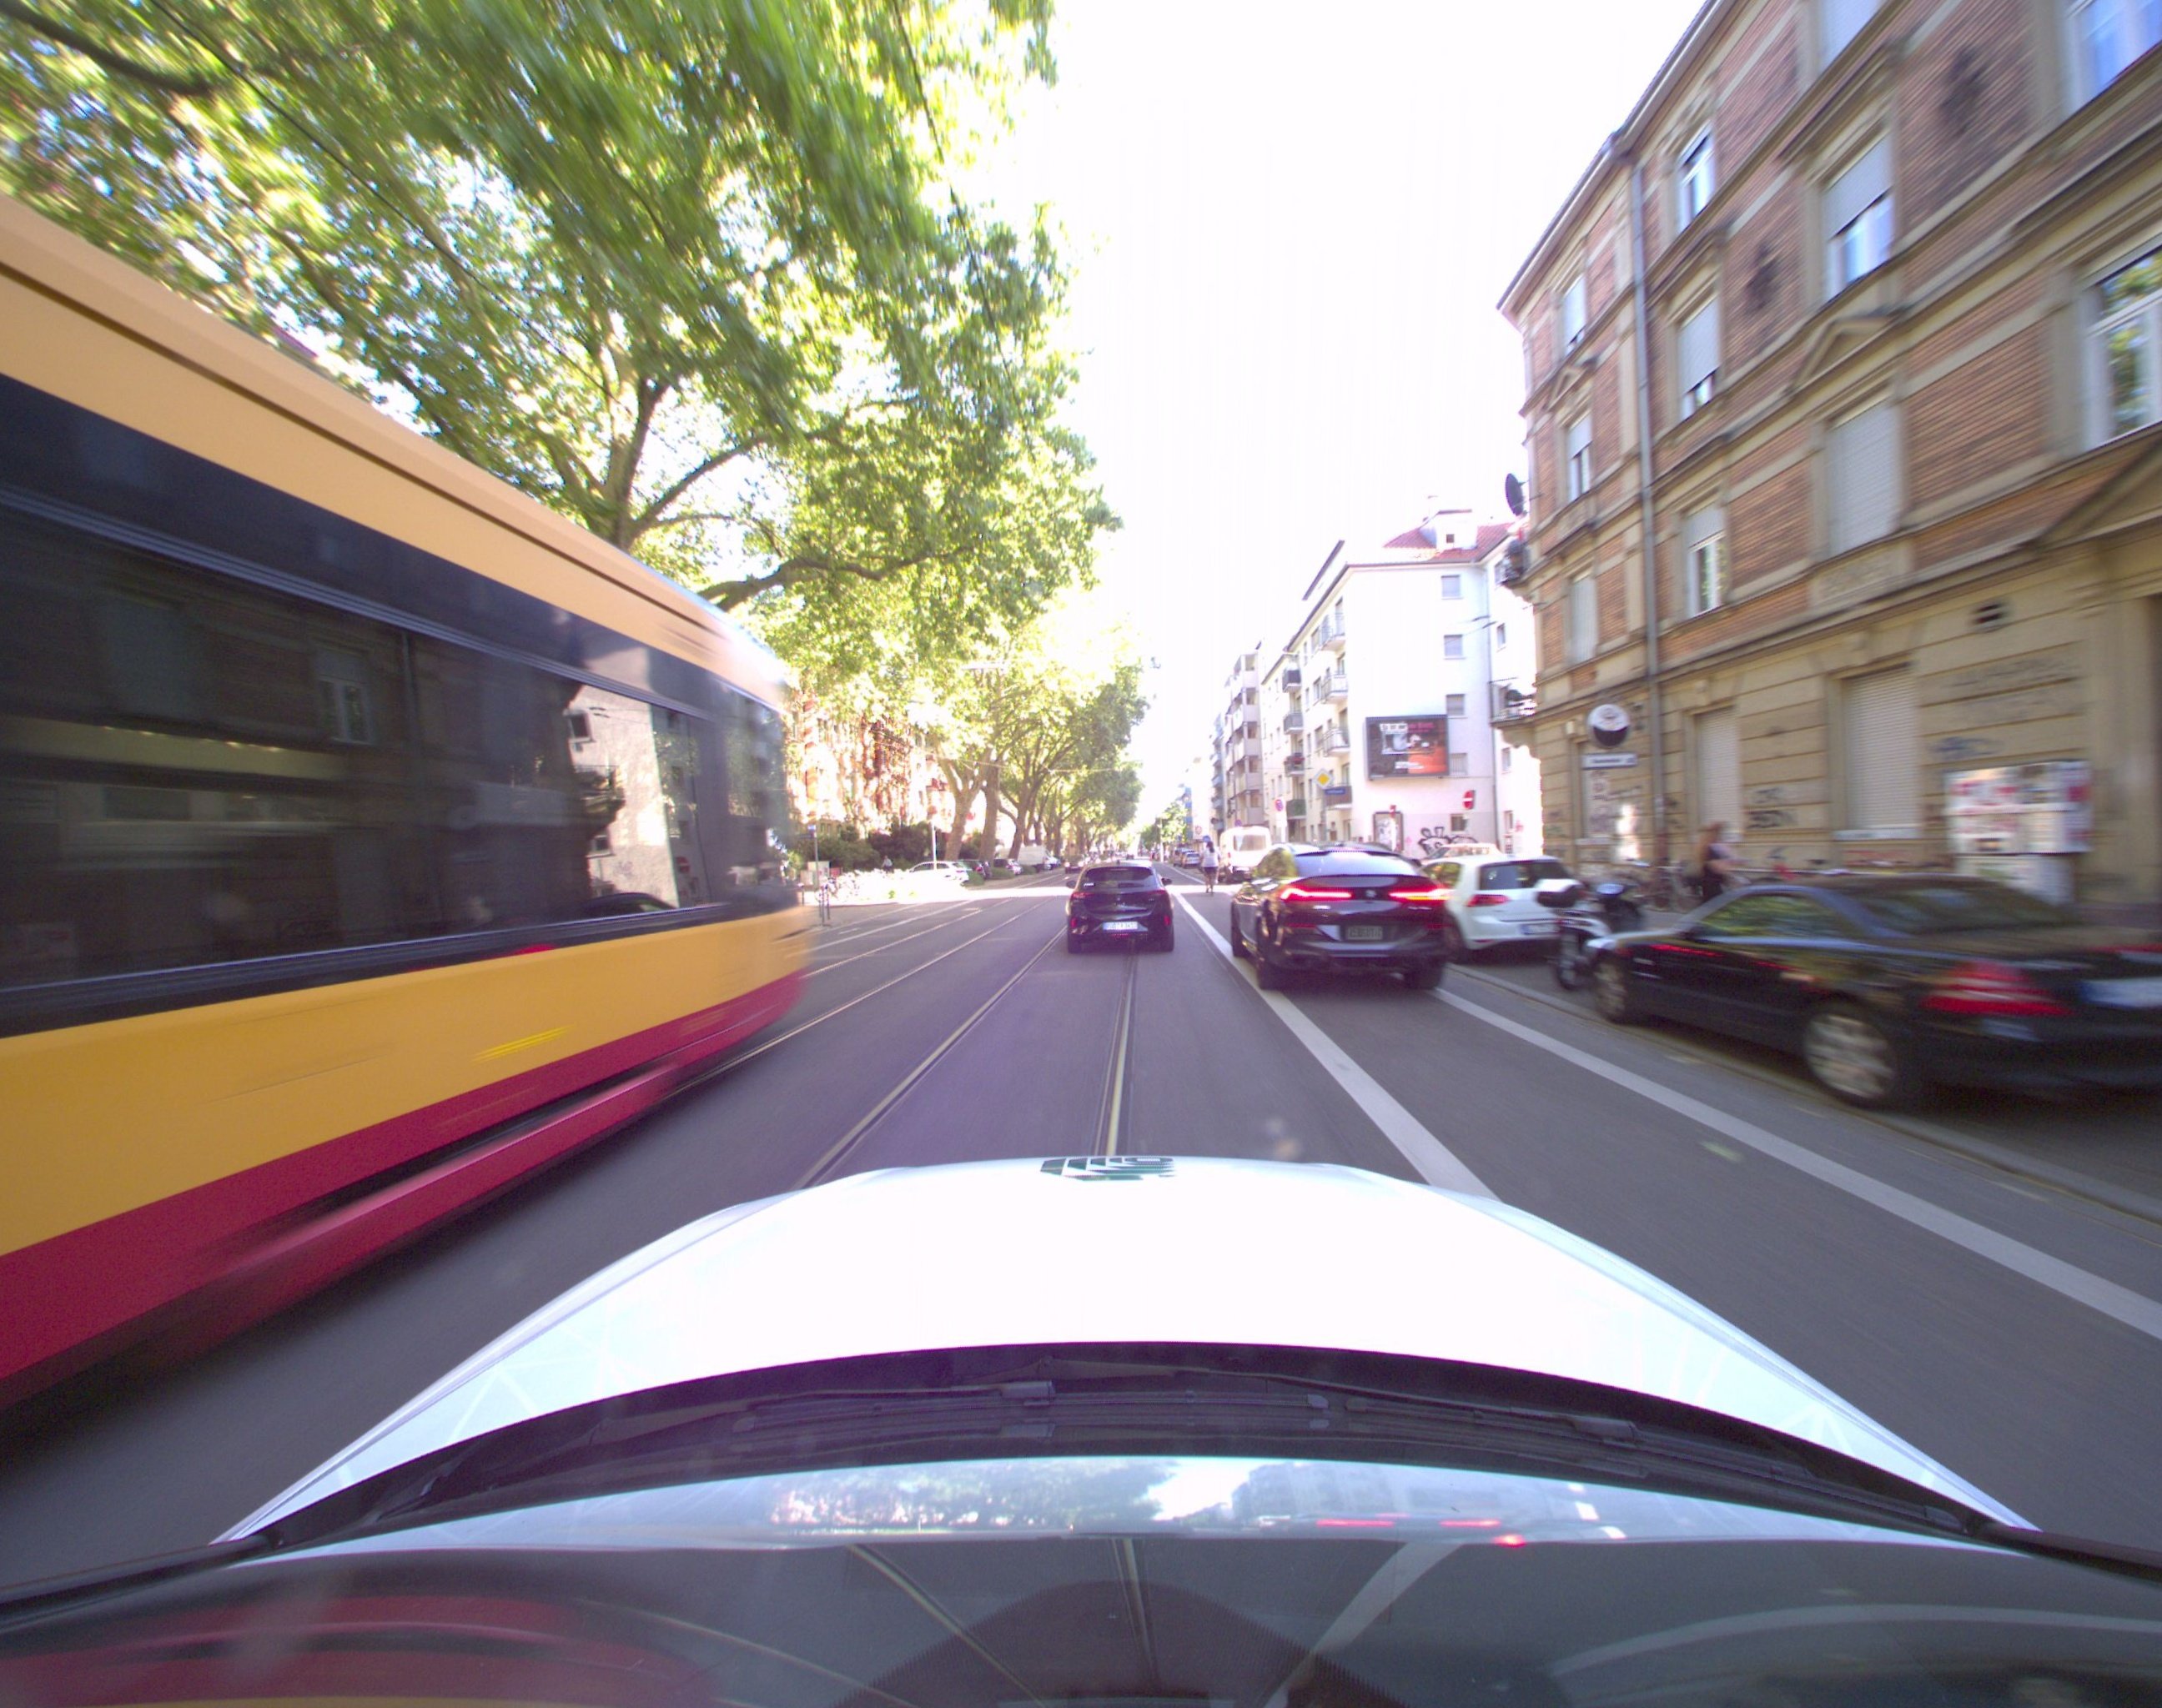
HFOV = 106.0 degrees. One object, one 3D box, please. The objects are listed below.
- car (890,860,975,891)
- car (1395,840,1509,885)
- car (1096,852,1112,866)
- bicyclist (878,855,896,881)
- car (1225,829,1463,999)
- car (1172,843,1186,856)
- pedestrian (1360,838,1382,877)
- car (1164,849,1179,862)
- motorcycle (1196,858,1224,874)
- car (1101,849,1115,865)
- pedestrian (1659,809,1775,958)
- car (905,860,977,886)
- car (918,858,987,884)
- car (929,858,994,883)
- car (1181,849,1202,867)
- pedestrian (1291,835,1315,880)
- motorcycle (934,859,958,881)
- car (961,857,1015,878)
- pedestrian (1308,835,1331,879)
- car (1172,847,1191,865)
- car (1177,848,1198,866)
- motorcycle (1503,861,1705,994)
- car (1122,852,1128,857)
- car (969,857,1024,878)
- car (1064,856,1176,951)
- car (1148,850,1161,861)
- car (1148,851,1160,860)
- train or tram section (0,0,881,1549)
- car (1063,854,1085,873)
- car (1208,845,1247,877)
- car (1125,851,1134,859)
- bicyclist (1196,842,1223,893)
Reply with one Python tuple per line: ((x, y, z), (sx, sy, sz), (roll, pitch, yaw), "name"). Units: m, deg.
((-7.757, 1.125, 42.814), (3.970, 1.460, 1.880), (-3, -1, 3), "car")
((14.124, 0.315, 31.177), (3.628, 1.574, 1.795), (-2, 0, 9), "car")
((2.736, 0.558, 96.719), (1.711, 1.510, 3.725), (-2, 0, 2), "car")
((-13.358, 0.954, 56.102), (0.827, 1.763, 1.049), (-2, 0, 3), "bicyclist")
((3.053, 0.607, 10.527), (1.935, 1.704, 4.636), (-1, 0, 5), "car")
((13.687, -0.612, 114.151), (1.849, 1.651, 4.006), (-2, 0, 5), "car")
((11.904, 0.134, 33.426), (0.629, 1.580, 0.934), (0, -1, 5), "pedestrian")
((11.917, 0.213, 107.119), (1.849, 1.651, 4.006), (-2, 0, 5), "car")
((9.068, 0.848, 57.187), (1.801, 1.080, 0.621), (-3, -1, 27), "motorcycle")
((3.887, 0.402, 115.562), (1.910, 2.227, 4.963), (-2, 0, 2), "car")
((7.426, 0.337, 9.549), (0.760, 1.657, 0.718), (-2, -1, 4), "pedestrian")
((-8.571, 1.160, 50.048), (3.967, 1.369, 1.608), (-2, 0, 5), "car")
((-8.196, 1.071, 52.121), (3.967, 1.460, 1.773), (-2, 0, 5), "car")
((-8.019, 1.092, 54.918), (3.967, 1.460, 1.707), (-2, 0, 5), "car")
((10.055, 0.387, 74.181), (1.716, 1.525, 4.519), (-2, 0, 5), "car")
((9.389, 0.142, 34.458), (0.706, 1.822, 1.083), (-3, -1, 5), "pedestrian")
((-9.933, 1.172, 60.071), (1.047, 1.631, 3.015), (0, -1, 4), "motorcycle")
((-6.993, 1.027, 61.530), (3.776, 1.460, 1.706), (-1, 0, 4), "car")
((10.058, 0.135, 34.400), (0.622, 1.822, 1.083), (-3, -1, 6), "pedestrian")
((10.974, 0.226, 89.353), (1.849, 1.890, 4.932), (-2, 0, 5), "car")
((10.523, 0.275, 80.794), (1.759, 1.705, 4.286), (-2, 0, 3), "car")
((5.740, 0.757, 8.931), (2.140, 1.289, 0.639), (-2, -1, -19), "motorcycle")
((12.827, 0.258, 235.224), (1.672, 1.422, 3.631), (-1, 0, 3), "car")
((-6.617, 1.060, 64.217), (3.969, 1.496, 1.832), (-2, 0, 4), "car")
((0.698, 0.751, 14.095), (1.672, 1.422, 3.631), (-1, 0, 3), "car")
((11.585, 0.235, 127.974), (1.849, 1.651, 4.006), (-2, 0, 5), "car")
((14.673, 0.310, 163.717), (1.987, 1.640, 3.999), (-2, 0, 0), "car")
((-3.817, -0.274, 2.159), (2.923, 3.619, 11.078), (0, -1, 5), "train or tram section")
((-0.545, 0.793, 68.013), (1.629, 1.510, 3.693), (-2, 0, 2), "car")
((8.810, 0.411, 49.300), (1.850, 1.820, 4.356), (-2, 0, 4), "car")
((10.463, 0.181, 175.890), (1.741, 1.651, 4.006), (-2, 0, 5), "car")
((4.494, 0.466, 28.531), (0.783, 1.759, 0.915), (-2, -1, 3), "bicyclist")
